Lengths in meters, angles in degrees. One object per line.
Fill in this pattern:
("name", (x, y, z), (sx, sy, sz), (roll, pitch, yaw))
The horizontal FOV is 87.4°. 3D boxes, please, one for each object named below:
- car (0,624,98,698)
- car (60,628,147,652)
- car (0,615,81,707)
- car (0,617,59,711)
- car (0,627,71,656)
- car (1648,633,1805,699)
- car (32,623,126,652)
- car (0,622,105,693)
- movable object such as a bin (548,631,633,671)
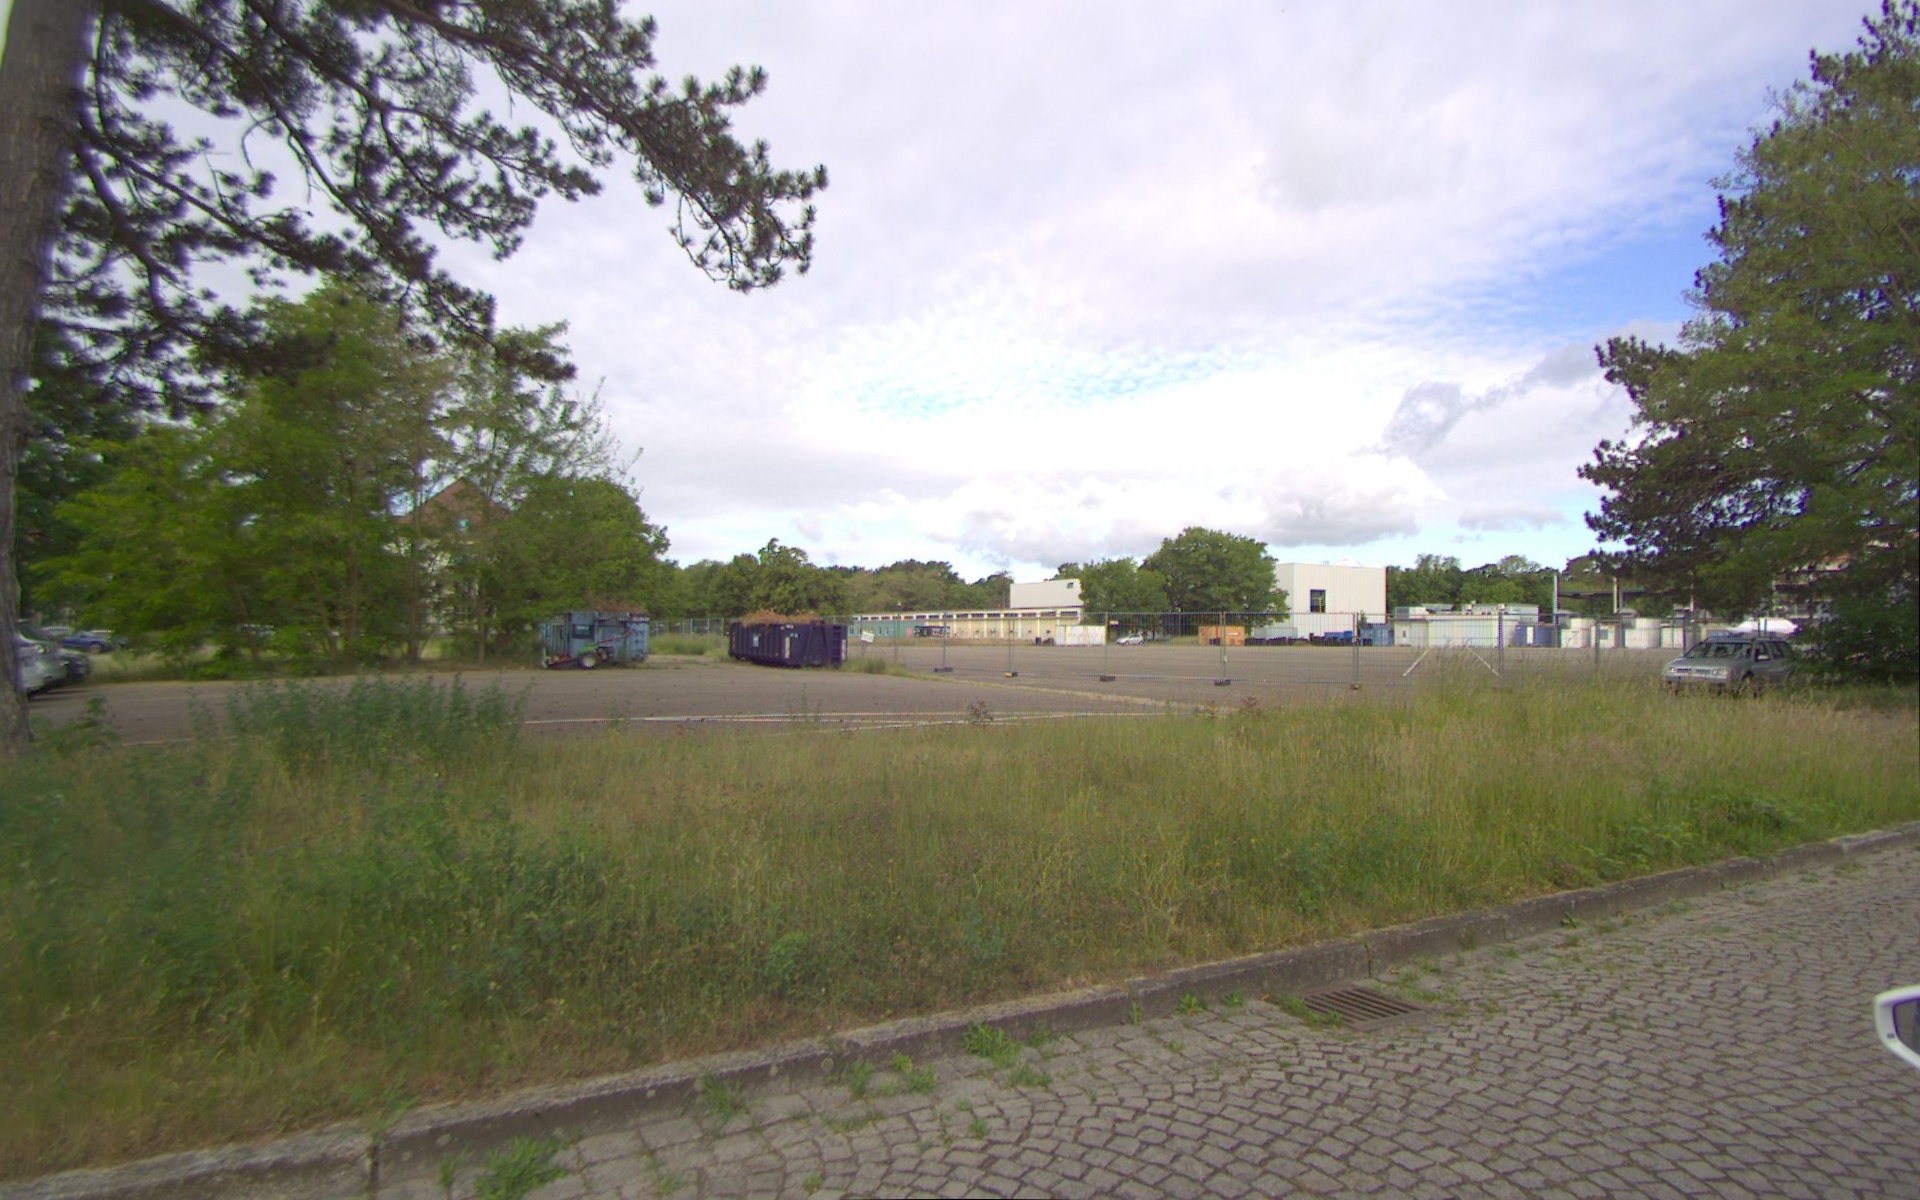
("car", (-20.393, 1.279, 20.171), (4.397, 1.443, 1.708), (-2, 0, -31))
("car", (-57.460, 2.693, 67.483), (4.037, 1.553, 1.718), (2, -2, -22))
("car", (-18.826, 1.136, 18.044), (4.332, 1.619, 1.855), (-1, -1, -35))
("car", (-17.576, 1.086, 15.841), (4.700, 1.508, 1.852), (-1, -2, -31))
("car", (-50.826, 2.218, 54.099), (4.035, 1.463, 1.715), (2, -3, -27))
("car", (19.279, 1.599, 25.230), (4.112, 1.451, 1.722), (0, -1, -30))
("car", (-55.441, 2.376, 63.285), (4.027, 1.717, 1.718), (2, -2, -22))
("car", (-21.812, 1.312, 22.419), (3.918, 1.490, 1.571), (-2, 0, -32))
("movable object such as a bin", (-10.965, 1.517, 29.858), (2.242, 1.140, 0.852), (2, -2, -31))
